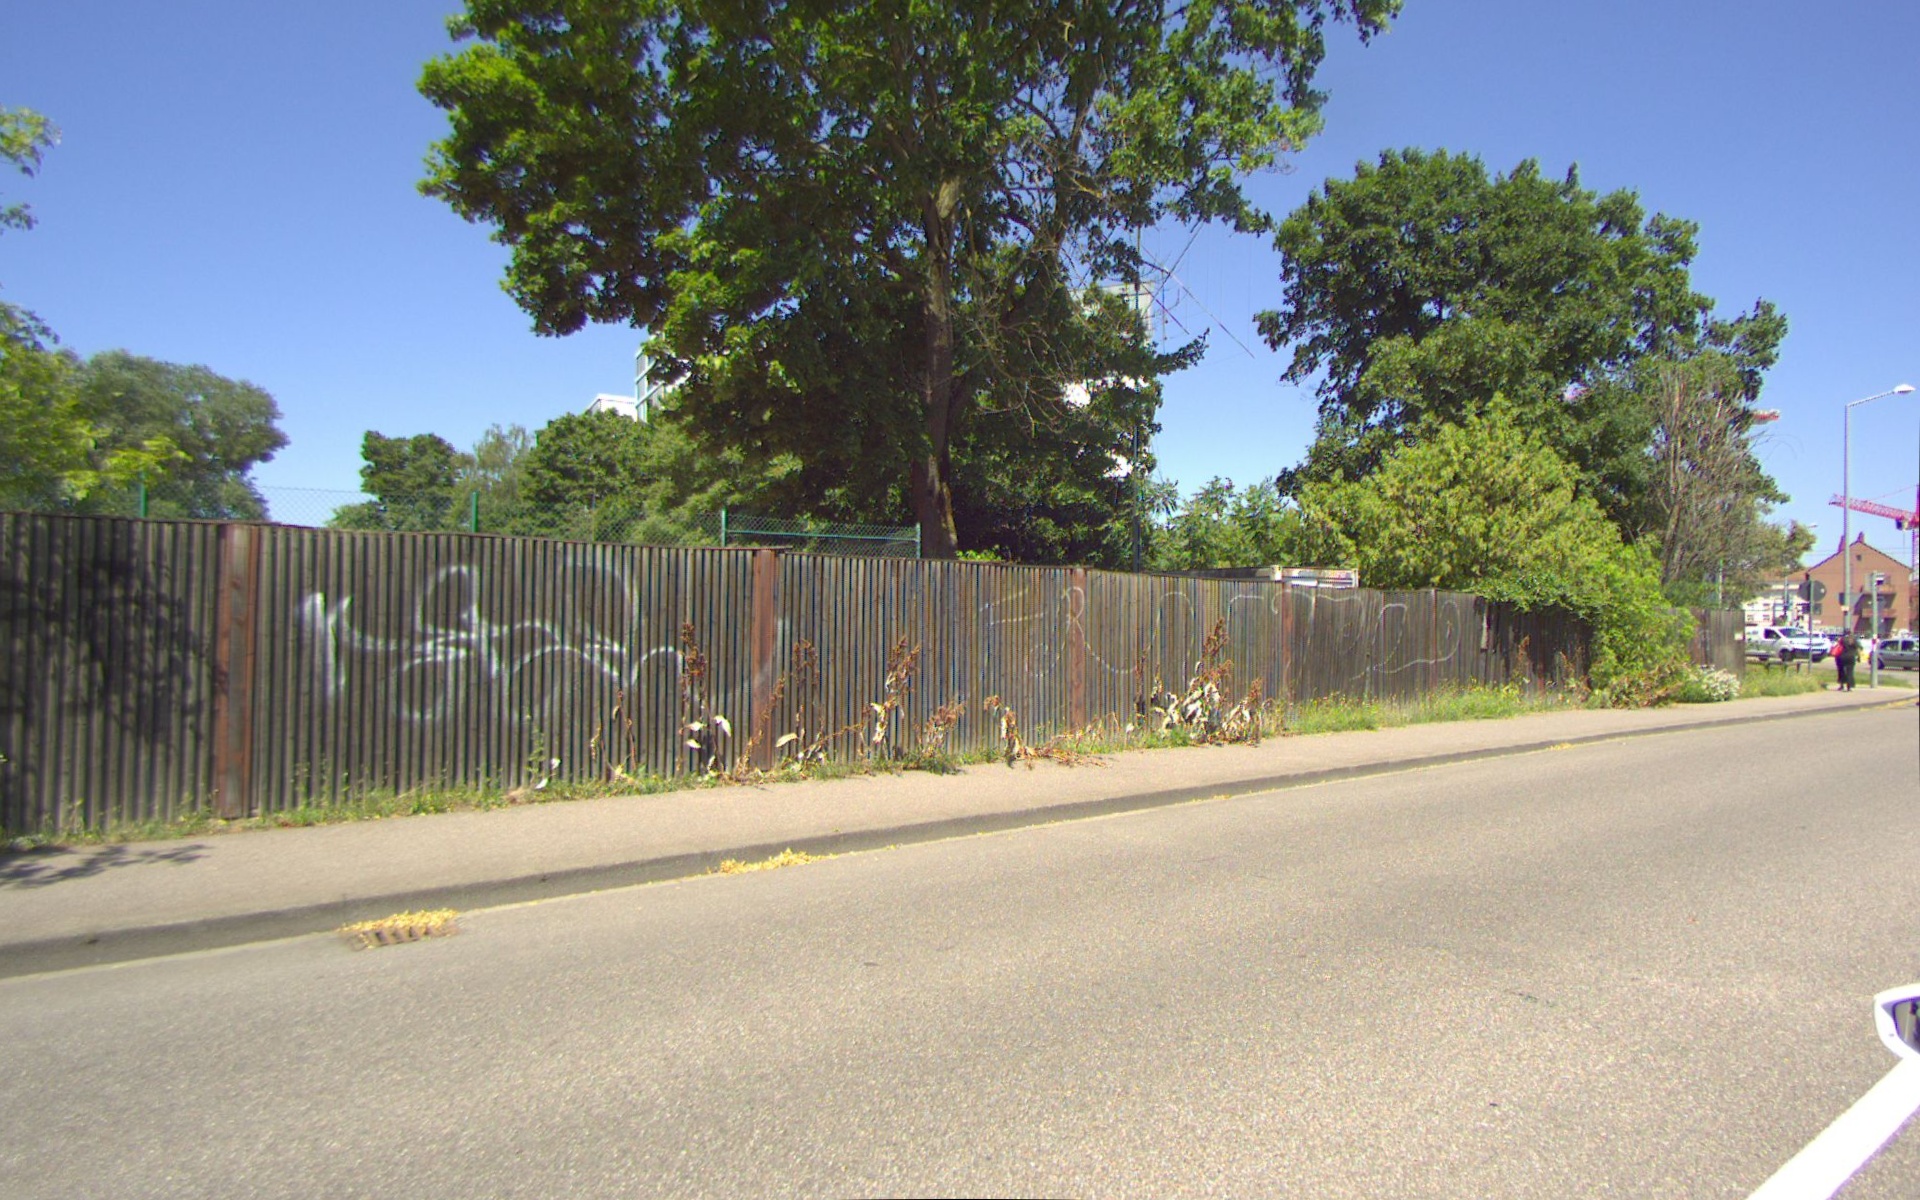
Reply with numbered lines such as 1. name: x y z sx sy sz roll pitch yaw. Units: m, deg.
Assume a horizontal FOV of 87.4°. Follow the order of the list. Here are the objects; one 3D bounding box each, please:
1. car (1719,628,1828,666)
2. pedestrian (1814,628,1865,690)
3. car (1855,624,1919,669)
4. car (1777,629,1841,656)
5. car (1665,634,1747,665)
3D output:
1. car: 44.255 2.506 54.796 1.960 1.874 4.987 1 -1 1
2. pedestrian: 23.401 1.548 26.725 0.868 1.584 0.803 2 0 -34
3. car: 40.476 1.981 42.596 1.602 1.874 3.676 1 -2 -5
4. car: 51.436 2.581 60.818 3.953 1.570 1.748 2 -1 -30
5. car: 40.463 2.675 54.613 1.600 1.463 4.023 1 -1 3
